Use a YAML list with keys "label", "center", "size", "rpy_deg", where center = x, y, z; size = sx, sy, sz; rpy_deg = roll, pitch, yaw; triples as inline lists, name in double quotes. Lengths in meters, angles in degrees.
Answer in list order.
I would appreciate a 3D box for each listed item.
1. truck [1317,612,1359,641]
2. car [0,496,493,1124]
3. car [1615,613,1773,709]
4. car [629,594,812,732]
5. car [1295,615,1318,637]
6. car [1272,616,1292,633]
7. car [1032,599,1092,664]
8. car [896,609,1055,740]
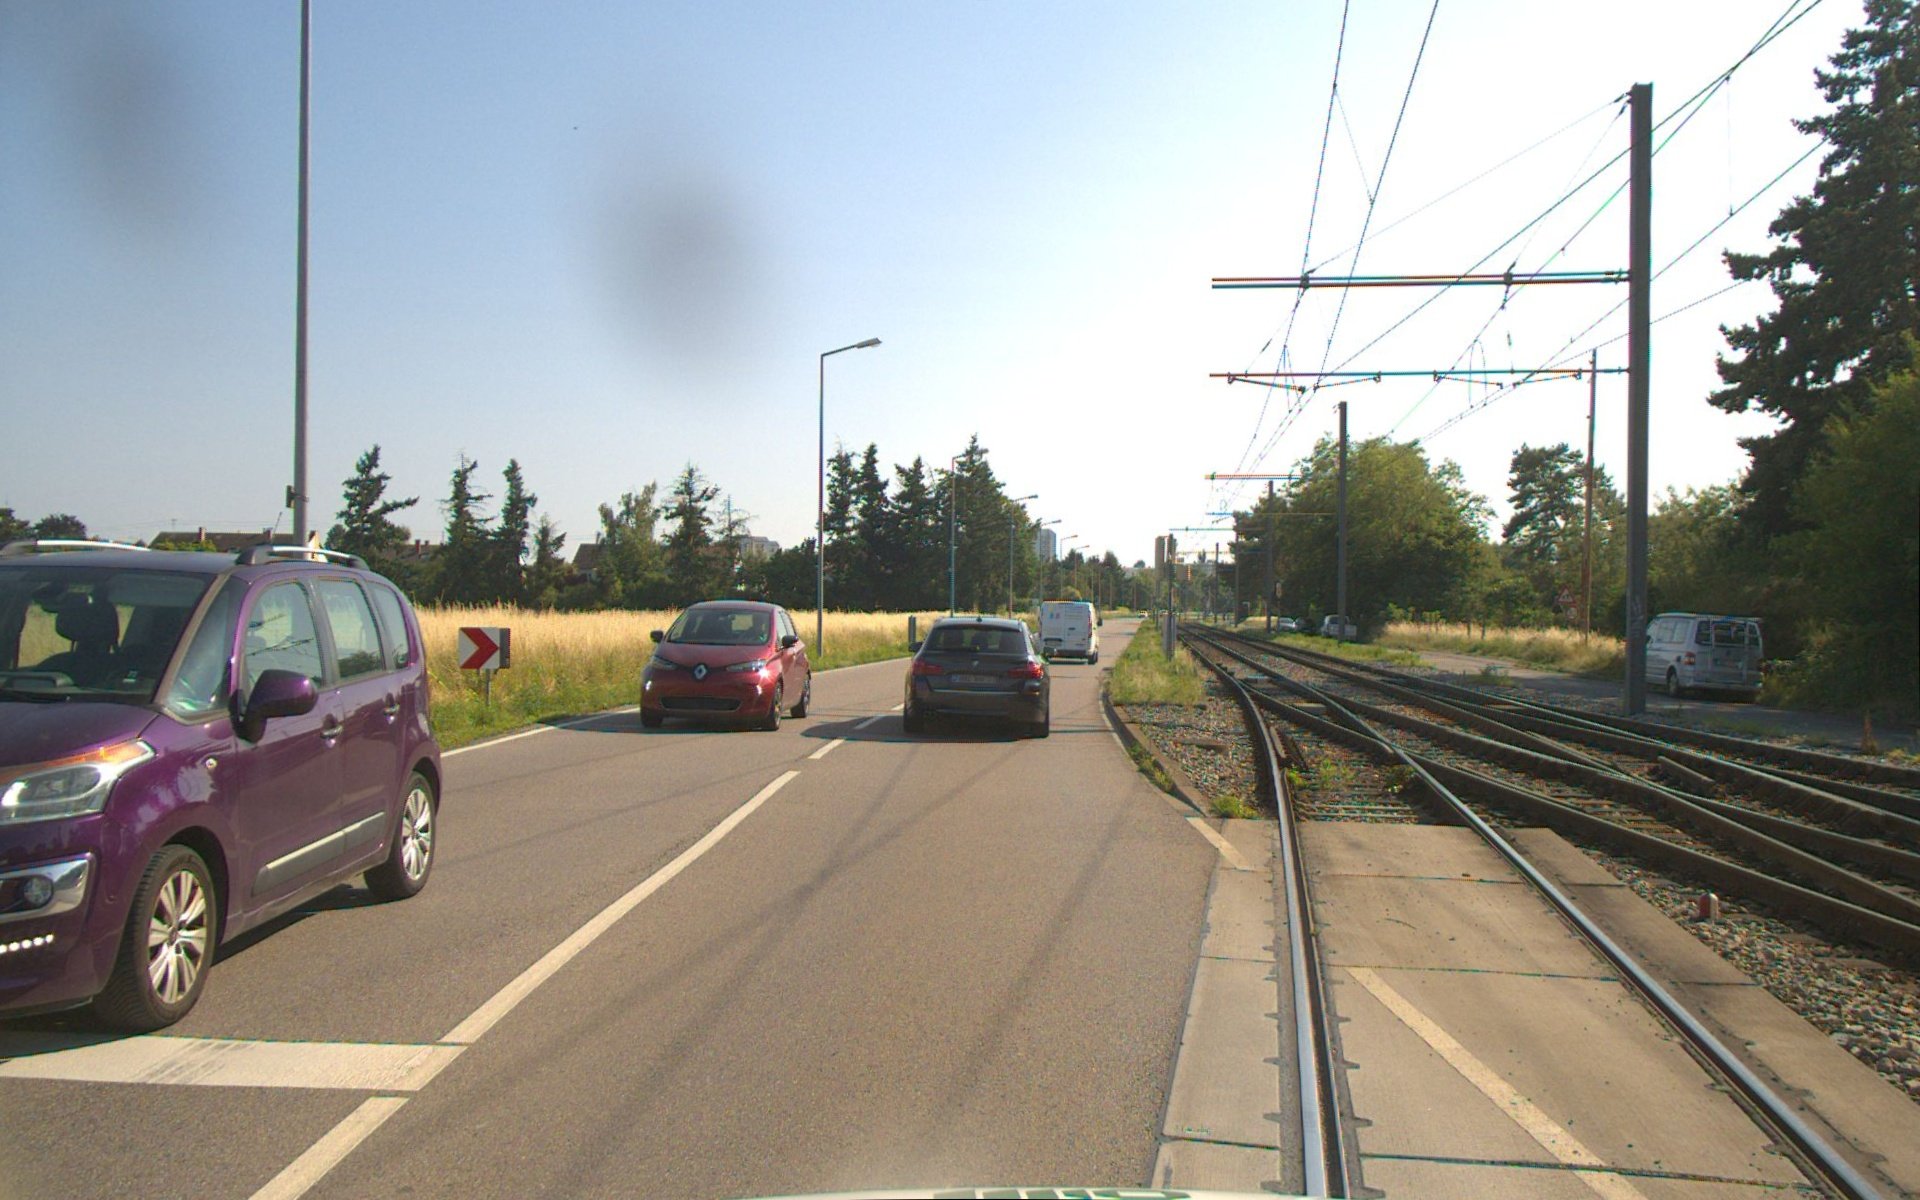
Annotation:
- label: "truck"
  center: [26.367, 1.836, 115.477]
  size: [2.158, 1.851, 5.933]
  rpy_deg: [2, -1, 6]
- label: "car"
  center: [-3.402, 0.547, 6.669]
  size: [1.671, 1.694, 4.589]
  rpy_deg: [2, 0, 0]
- label: "car"
  center: [17.853, 1.430, 40.515]
  size: [1.952, 2.039, 5.070]
  rpy_deg: [4, 0, 6]
- label: "car"
  center: [-3.016, 0.750, 21.552]
  size: [1.677, 1.576, 3.929]
  rpy_deg: [2, 0, 1]
- label: "car"
  center: [29.991, 2.280, 143.278]
  size: [1.698, 1.709, 3.546]
  rpy_deg: [3, -2, 9]
- label: "car"
  center: [31.424, 2.401, 161.355]
  size: [1.587, 1.423, 3.492]
  rpy_deg: [3, -2, 7]
- label: "car"
  center: [3.470, 1.022, 55.619]
  size: [1.818, 2.023, 5.111]
  rpy_deg: [2, 0, 5]
- label: "car"
  center: [0.253, 0.913, 21.990]
  size: [1.830, 1.478, 4.744]
  rpy_deg: [2, -1, 2]
